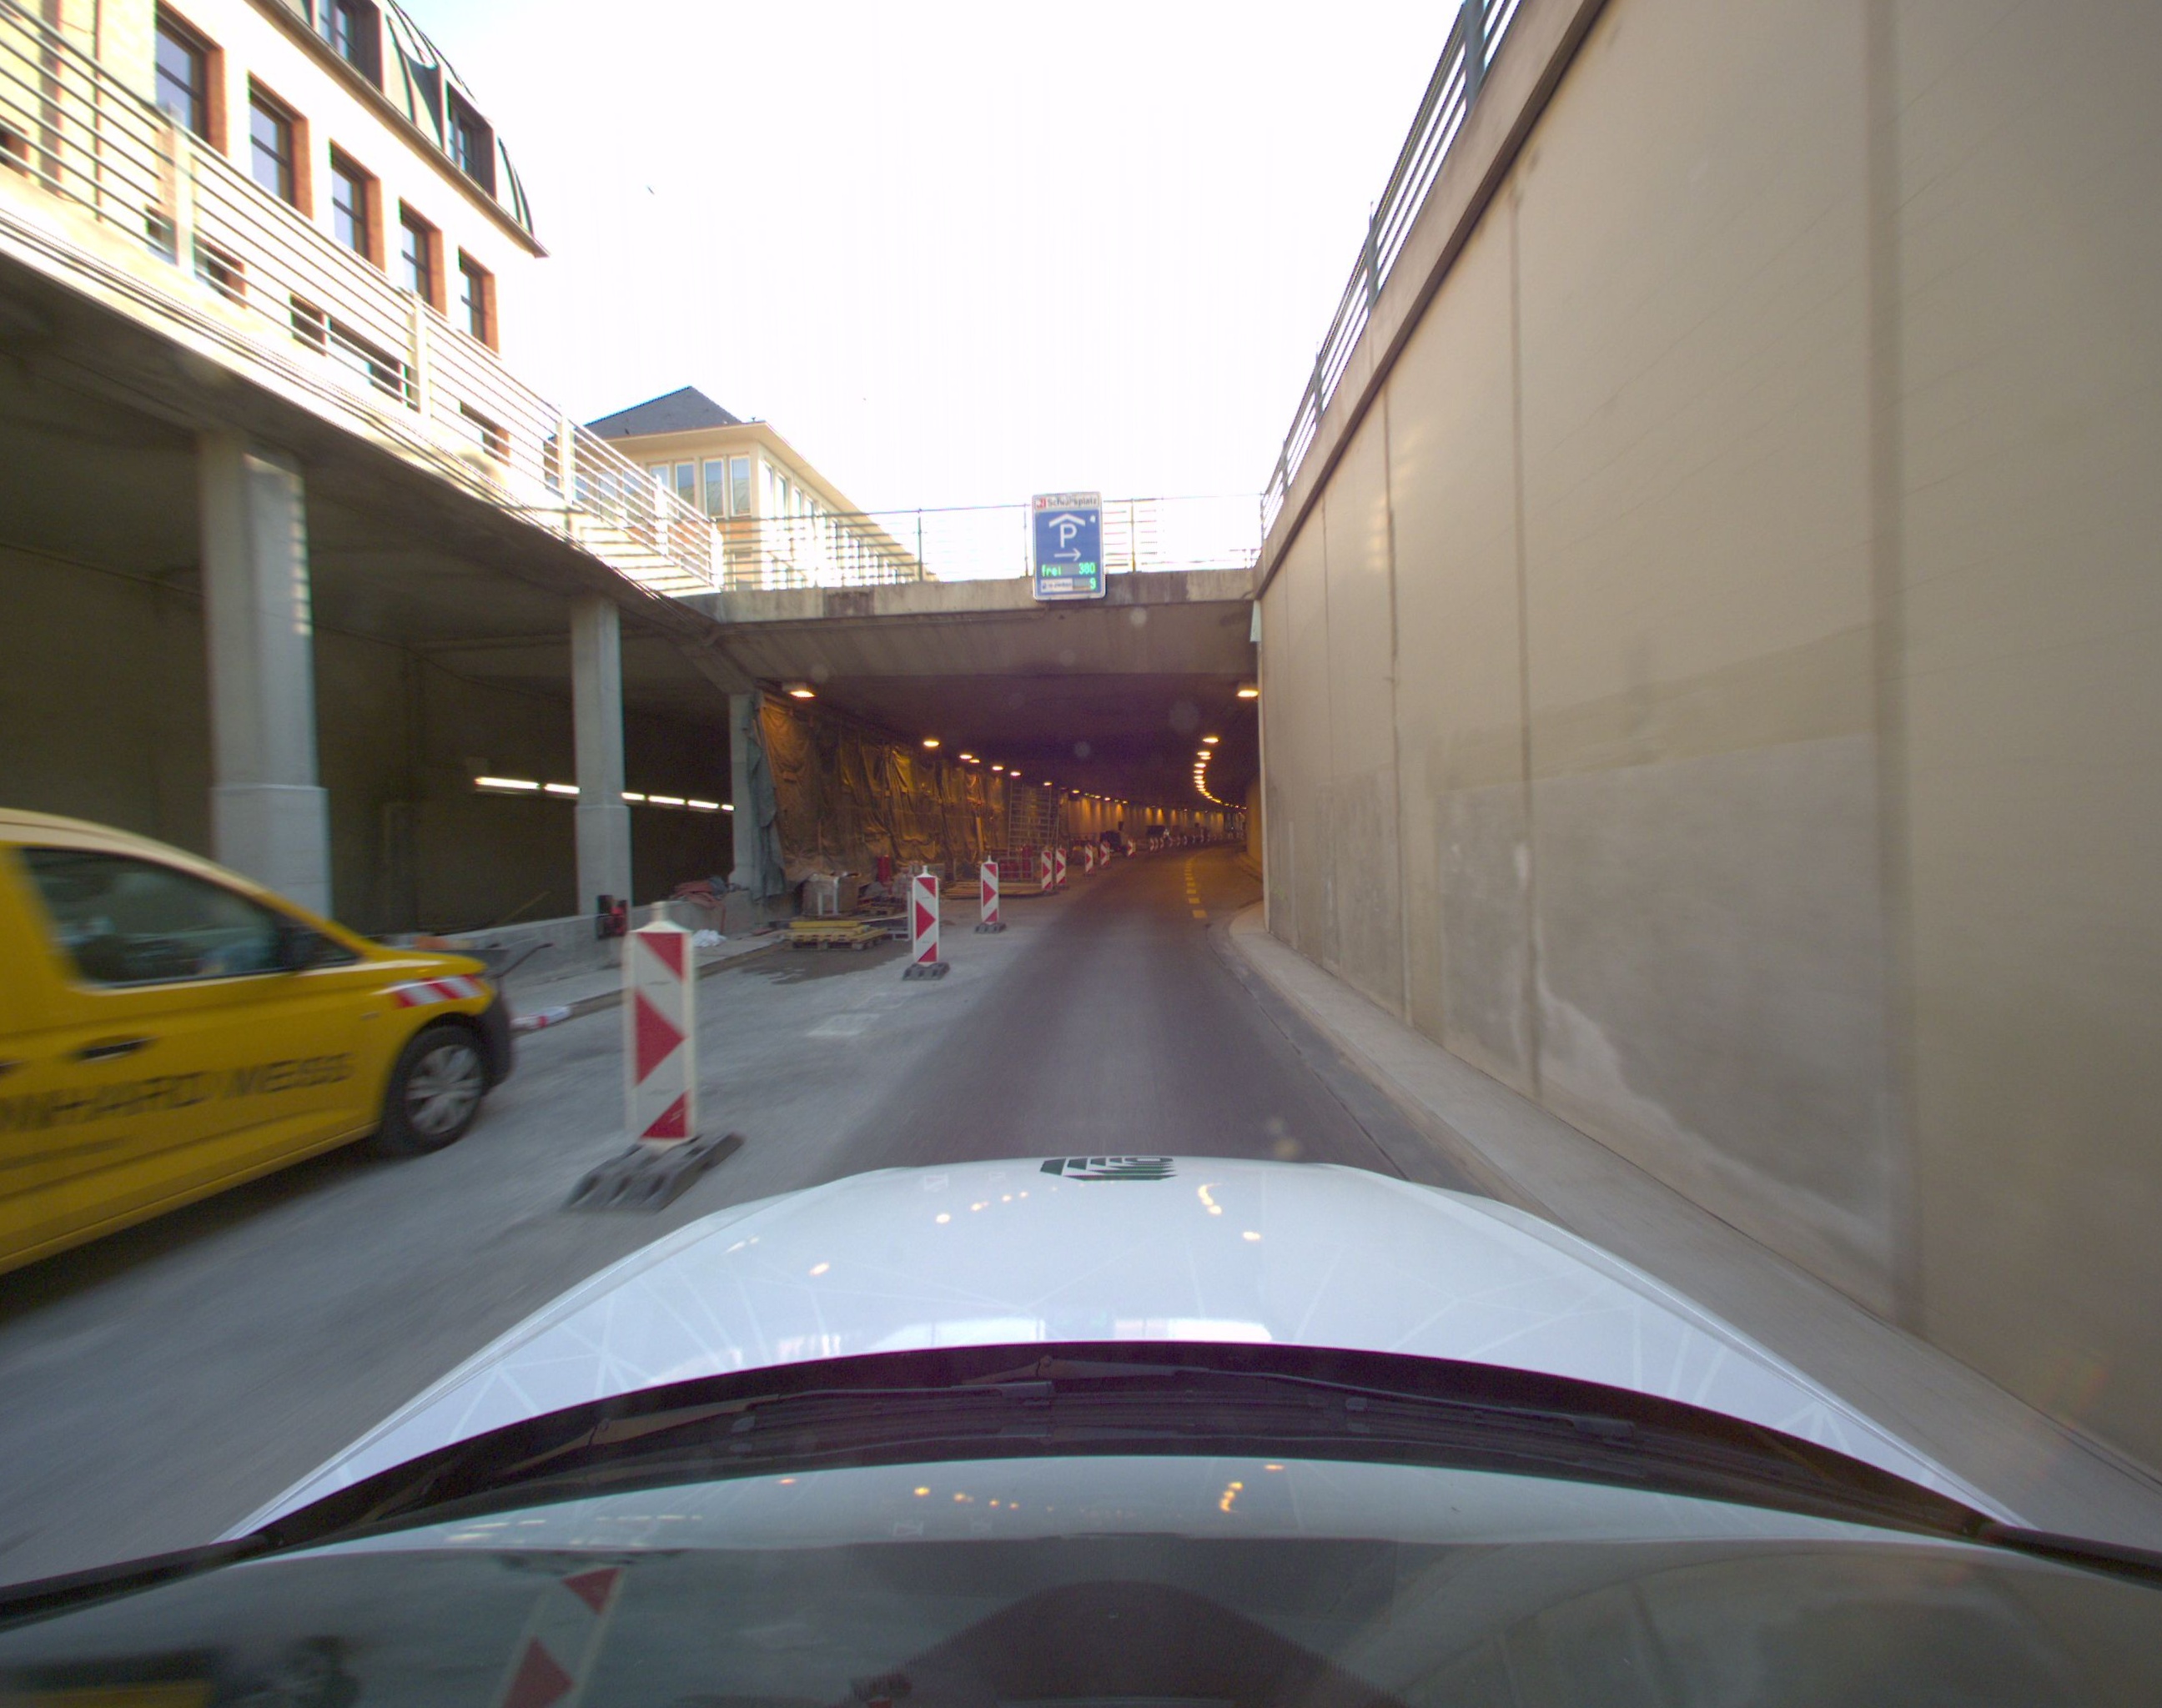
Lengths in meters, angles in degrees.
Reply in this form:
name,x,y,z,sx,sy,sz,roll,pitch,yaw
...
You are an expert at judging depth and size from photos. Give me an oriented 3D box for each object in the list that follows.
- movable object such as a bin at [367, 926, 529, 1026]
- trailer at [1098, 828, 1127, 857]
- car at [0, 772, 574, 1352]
name,x,y,z,sx,sy,sz,roll,pitch,yaw
movable object such as a bin,-5.760,1.090,7.476,0.649,0.741,1.032,-1,0,2
trailer,2.078,-0.775,53.339,1.571,1.798,2.947,0,1,9
car,-4.221,0.644,2.931,1.841,1.775,4.437,-1,1,2
